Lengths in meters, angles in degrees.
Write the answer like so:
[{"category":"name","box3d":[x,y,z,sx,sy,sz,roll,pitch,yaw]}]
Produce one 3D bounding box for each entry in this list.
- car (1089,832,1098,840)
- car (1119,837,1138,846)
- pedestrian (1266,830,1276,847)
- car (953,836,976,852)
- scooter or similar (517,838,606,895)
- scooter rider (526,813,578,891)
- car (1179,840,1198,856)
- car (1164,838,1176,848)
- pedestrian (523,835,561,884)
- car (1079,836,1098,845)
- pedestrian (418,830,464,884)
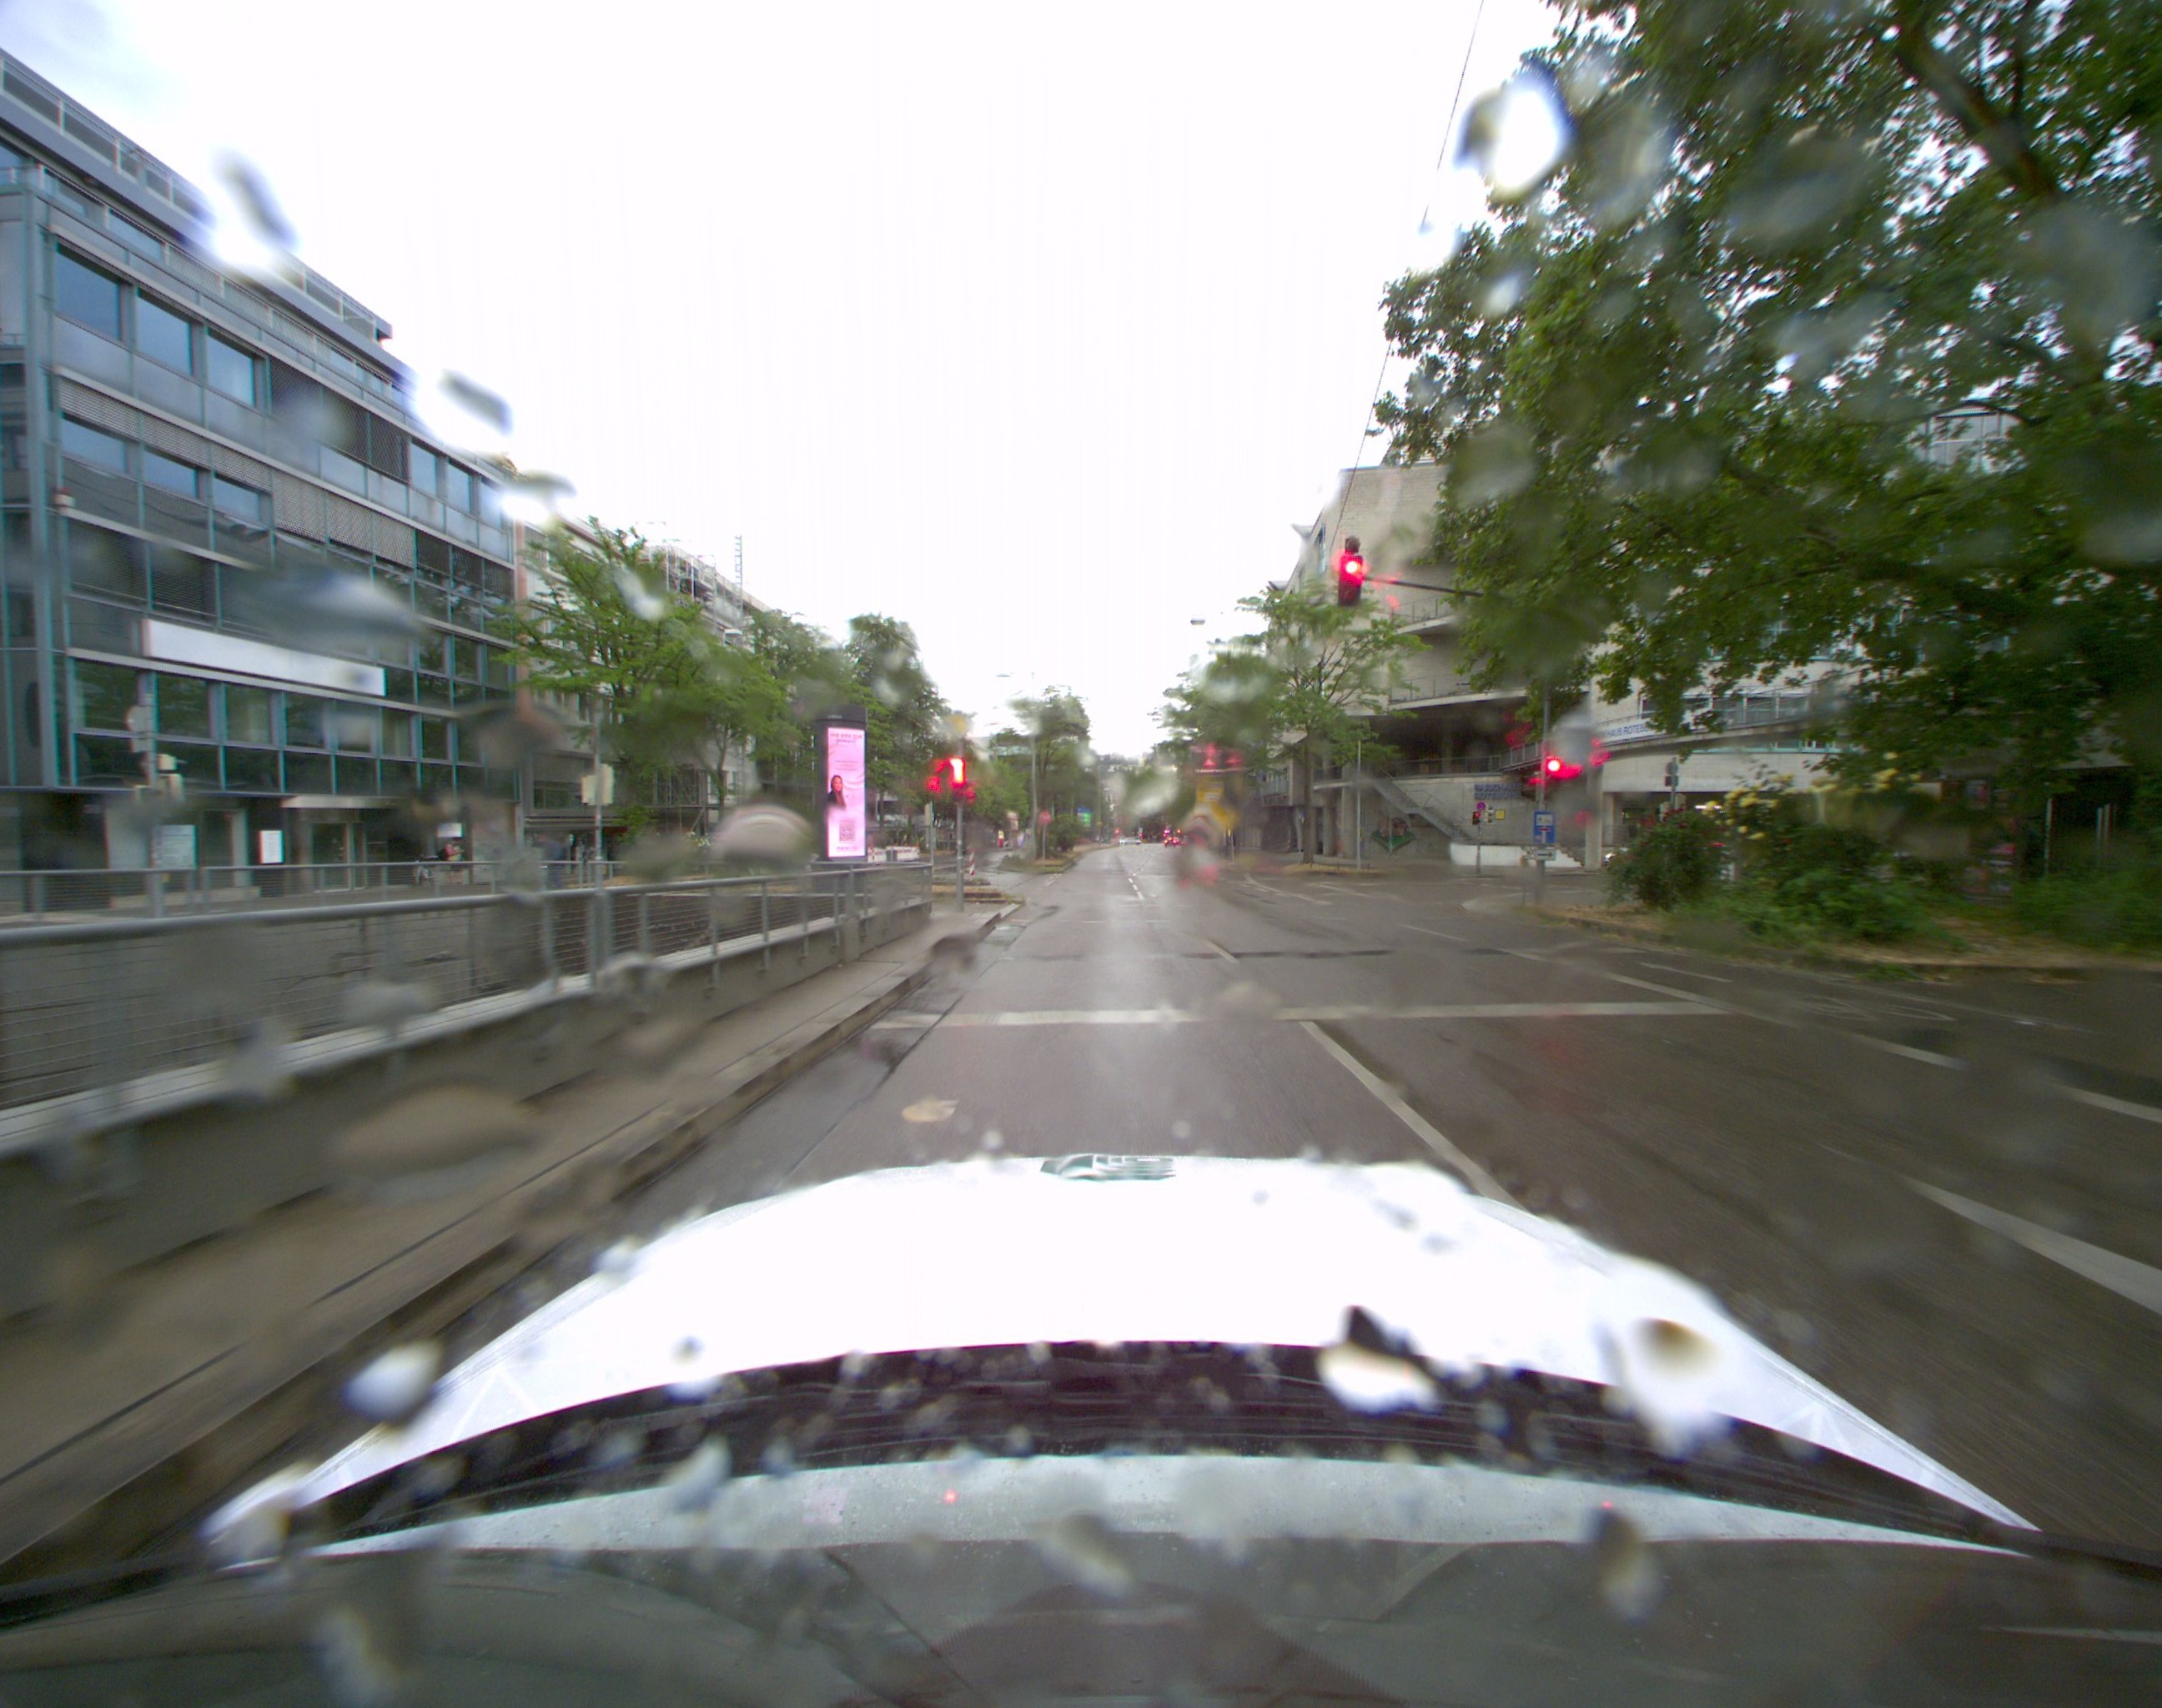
[{"category":"car","box3d":[3.603,-4.973,228.338,2.118,2.164,5.204,1,1,5]},{"category":"car","box3d":[10.647,-2.793,184.278,4.048,1.904,1.951,0,0,-5]},{"category":"pedestrian","box3d":[16.925,-1.389,72.402,0.782,1.557,0.534,1,0,6]},{"category":"car","box3d":[-12.517,-1.082,87.844,1.774,1.555,3.895,1,3,1]},{"category":"scooter or similar","box3d":[-13.517,0.303,21.260,0.541,1.418,1.966,1,0,25]},{"category":"scooter rider","box3d":[-13.666,-0.056,21.058,0.801,1.948,0.827,1,0,26]},{"category":"car","box3d":[11.528,-0.682,87.509,1.892,1.684,3.917,1,1,6]},{"category":"car","box3d":[14.376,-1.780,131.740,1.739,1.519,4.108,0,1,2]},{"category":"pedestrian","box3d":[-21.095,0.213,31.905,0.874,1.868,0.867,1,0,0]},{"category":"car","box3d":[1.606,-2.947,182.823,4.010,1.919,1.879,1,0,-10]},{"category":"pedestrian","box3d":[-22.728,0.091,28.926,0.857,1.868,0.964,1,0,20]}]
